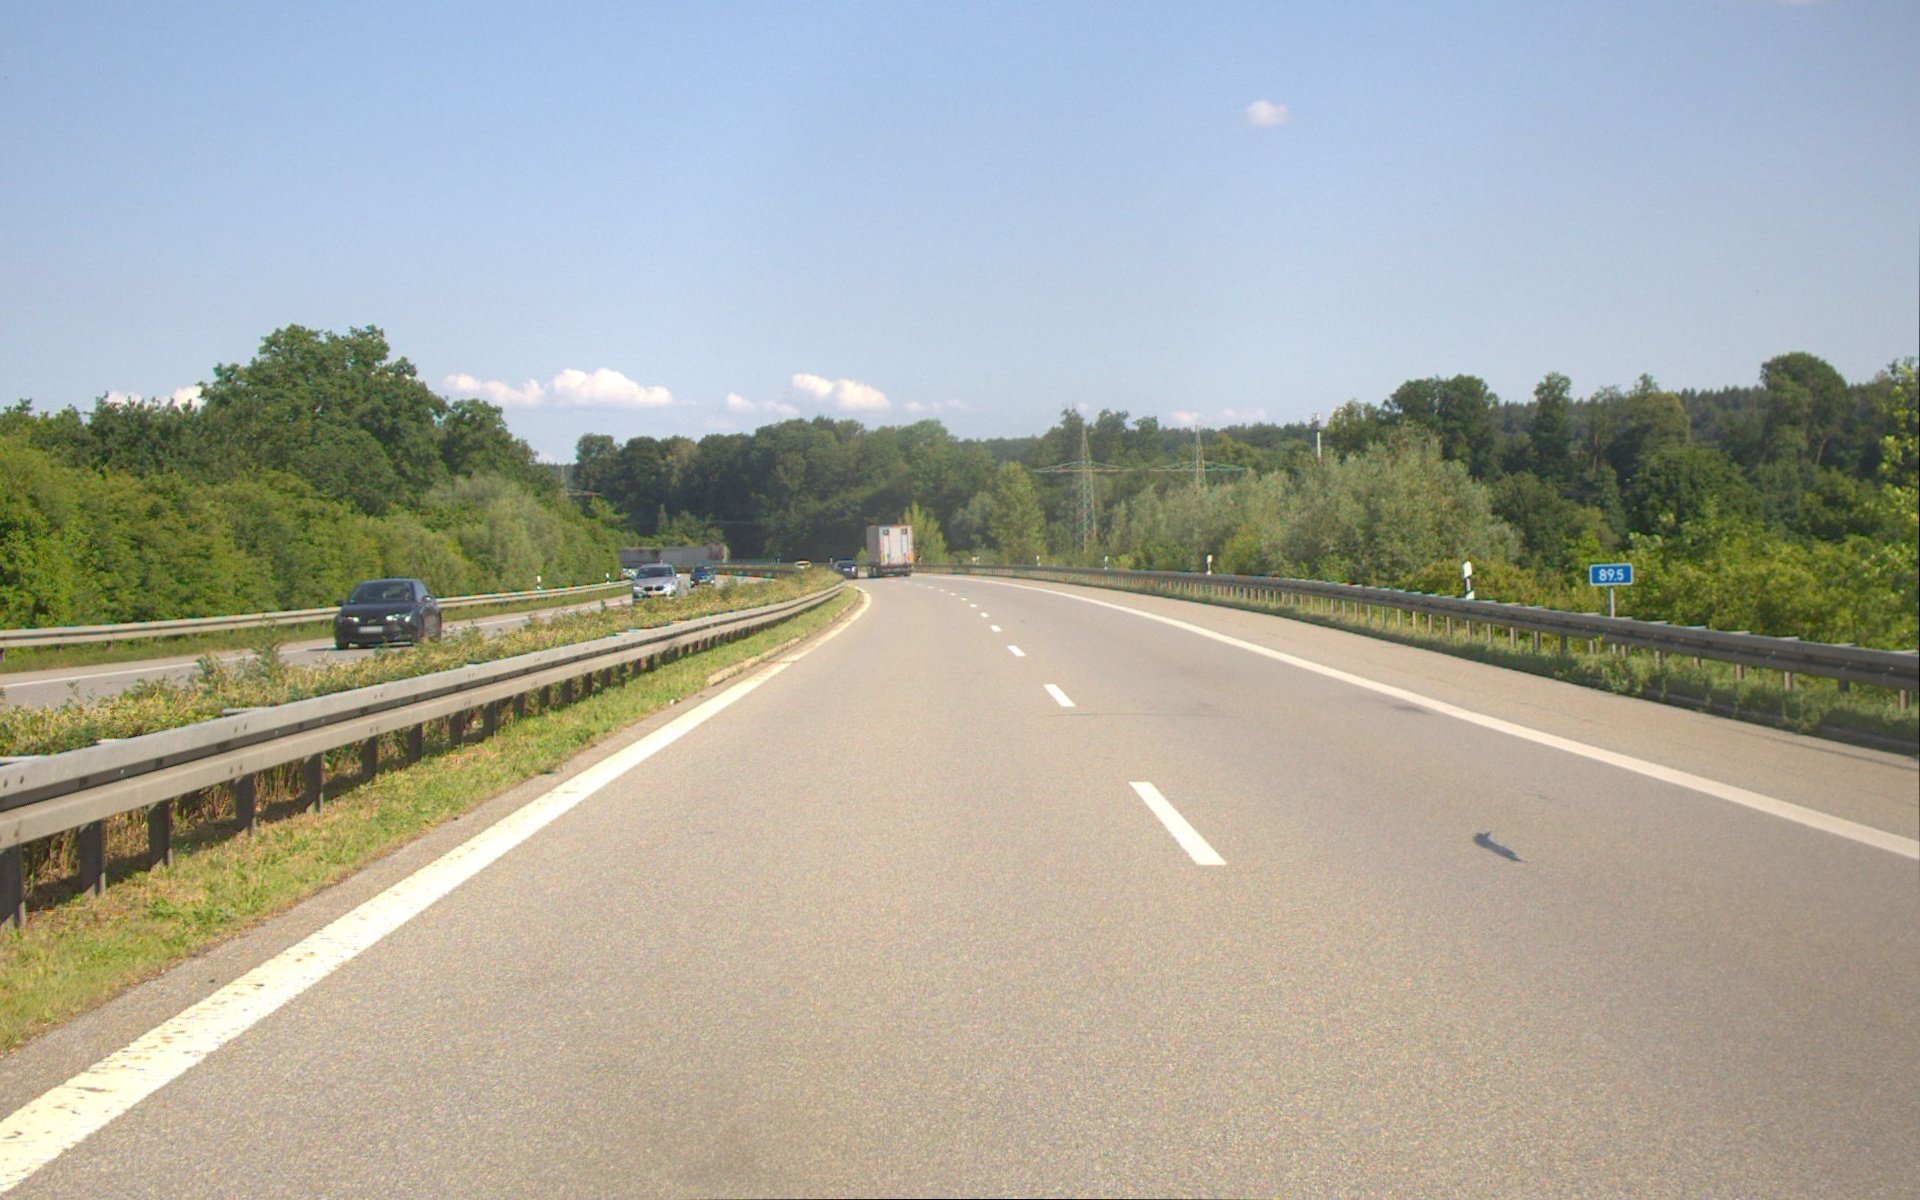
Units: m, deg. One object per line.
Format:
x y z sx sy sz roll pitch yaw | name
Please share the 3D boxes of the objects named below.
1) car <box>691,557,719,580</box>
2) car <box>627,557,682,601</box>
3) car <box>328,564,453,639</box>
-17.153 -2.138 231.272 1.676 1.436 4.000 -3 1 -2 | car
-12.015 -0.849 135.411 1.909 1.583 4.918 -3 1 -3 | car
-11.901 0.015 72.071 1.739 1.440 4.768 -2 1 1 | car
